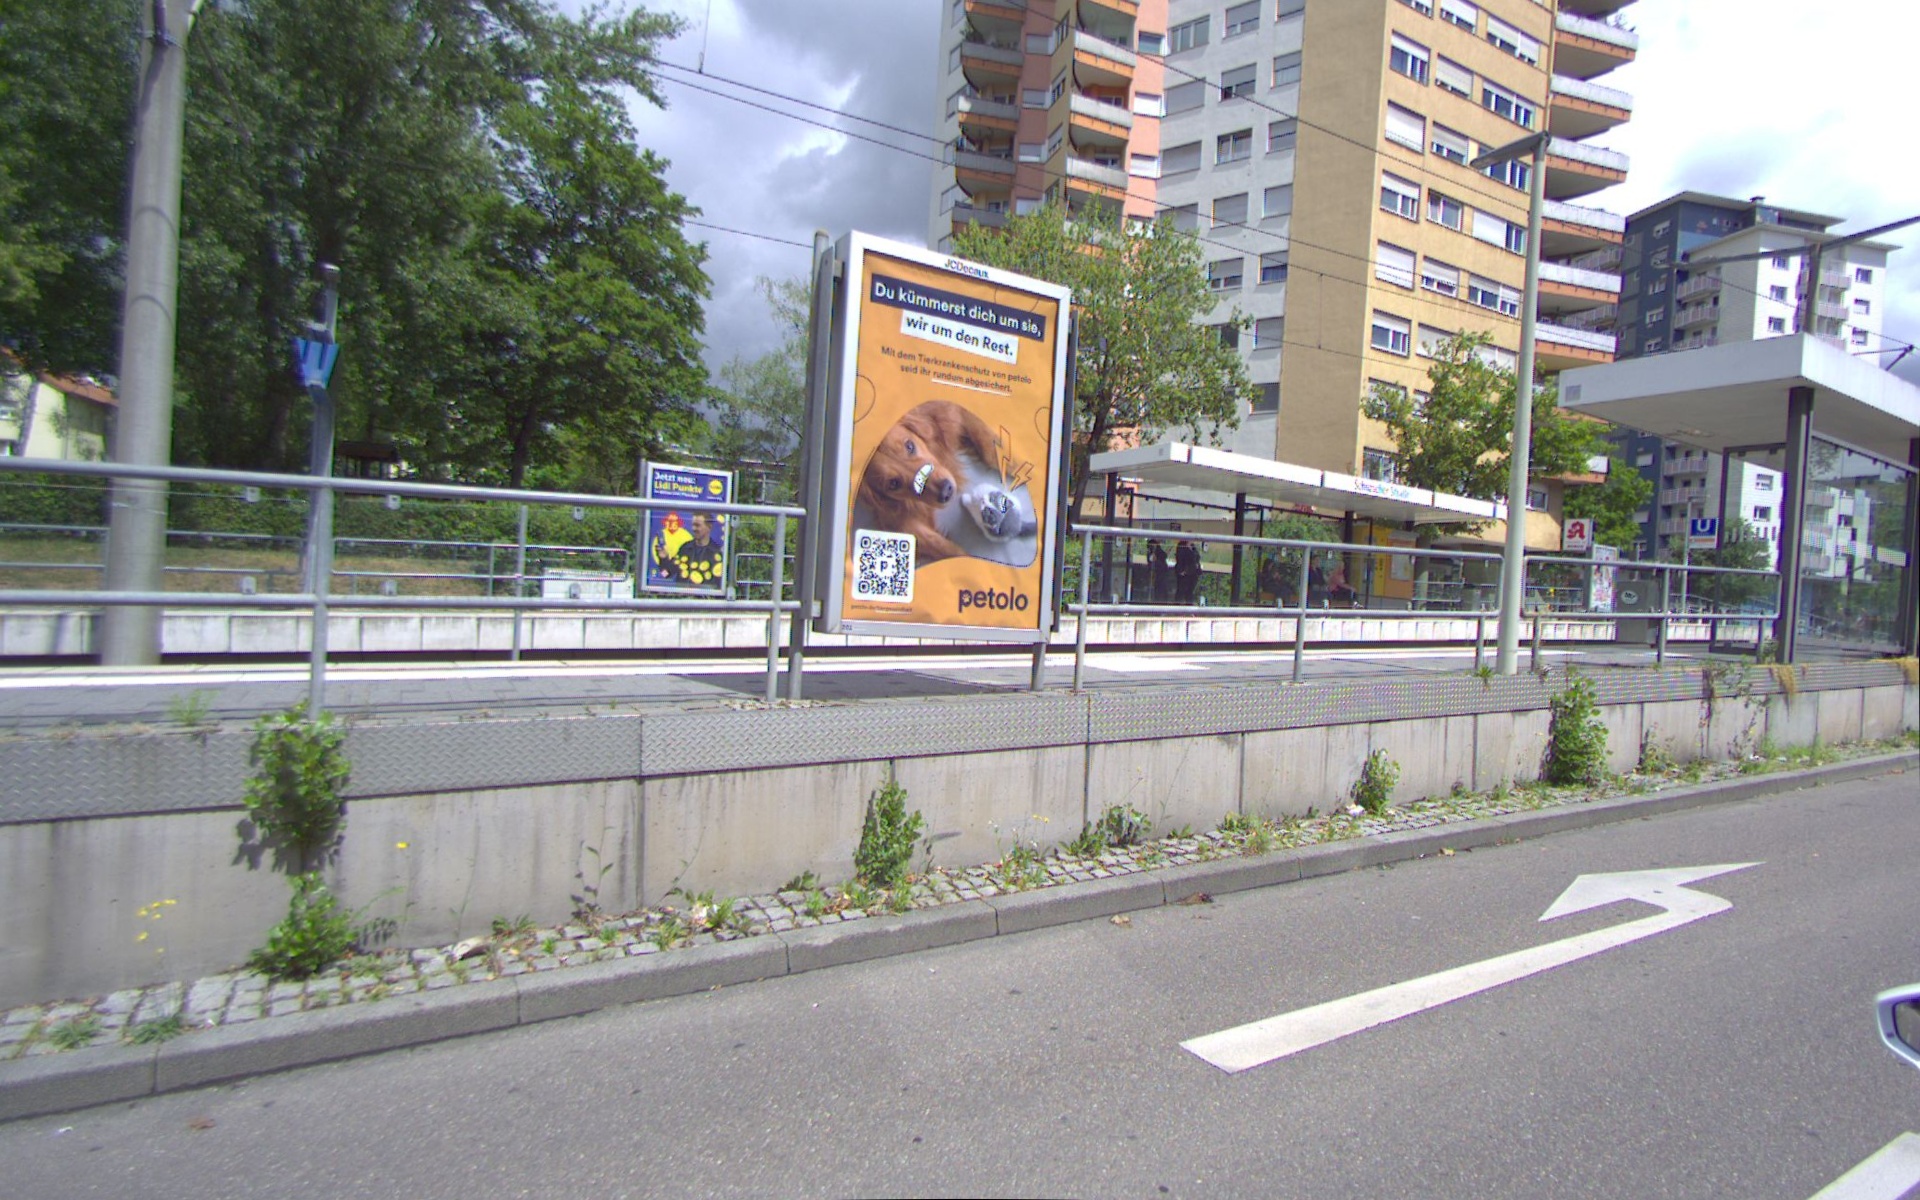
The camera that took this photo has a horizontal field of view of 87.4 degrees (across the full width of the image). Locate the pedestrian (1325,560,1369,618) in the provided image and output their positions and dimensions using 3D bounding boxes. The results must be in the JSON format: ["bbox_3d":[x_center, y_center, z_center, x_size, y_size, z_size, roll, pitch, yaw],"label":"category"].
[{"bbox_3d":[8.609,-0.235,22.338,0.511,1.253,0.738,1,0,-30],"label":"pedestrian"}]

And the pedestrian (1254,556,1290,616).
[{"bbox_3d":[6.689,-0.294,21.512,0.539,1.253,0.515,1,0,-43],"label":"pedestrian"}]

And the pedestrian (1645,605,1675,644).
[{"bbox_3d":[31.713,1.086,45.490,0.678,1.719,0.858,1,0,-15],"label":"pedestrian"}]

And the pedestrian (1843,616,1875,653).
[{"bbox_3d":[33.895,1.299,37.889,0.677,1.361,0.859,1,1,29],"label":"pedestrian"}]

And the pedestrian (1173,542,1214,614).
[{"bbox_3d":[4.692,-0.437,20.162,0.517,1.397,0.537,4,-2,-39],"label":"pedestrian"}]

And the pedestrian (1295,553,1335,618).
[{"bbox_3d":[7.805,-0.316,22.069,0.501,1.387,0.640,1,0,-30],"label":"pedestrian"}]

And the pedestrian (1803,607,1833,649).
[{"bbox_3d":[33.614,1.083,39.351,0.765,1.604,0.605,1,1,-27],"label":"pedestrian"}]

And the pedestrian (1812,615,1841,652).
[{"bbox_3d":[33.004,1.273,38.276,0.543,1.360,0.669,1,0,11],"label":"pedestrian"}]

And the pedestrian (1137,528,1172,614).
[{"bbox_3d":[3.863,-0.559,19.900,0.512,1.666,0.564,1,0,27],"label":"pedestrian"}]

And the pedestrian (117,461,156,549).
[{"bbox_3d":[-17.109,-1.960,20.873,0.498,1.735,0.647,1,0,-30],"label":"pedestrian"}]
